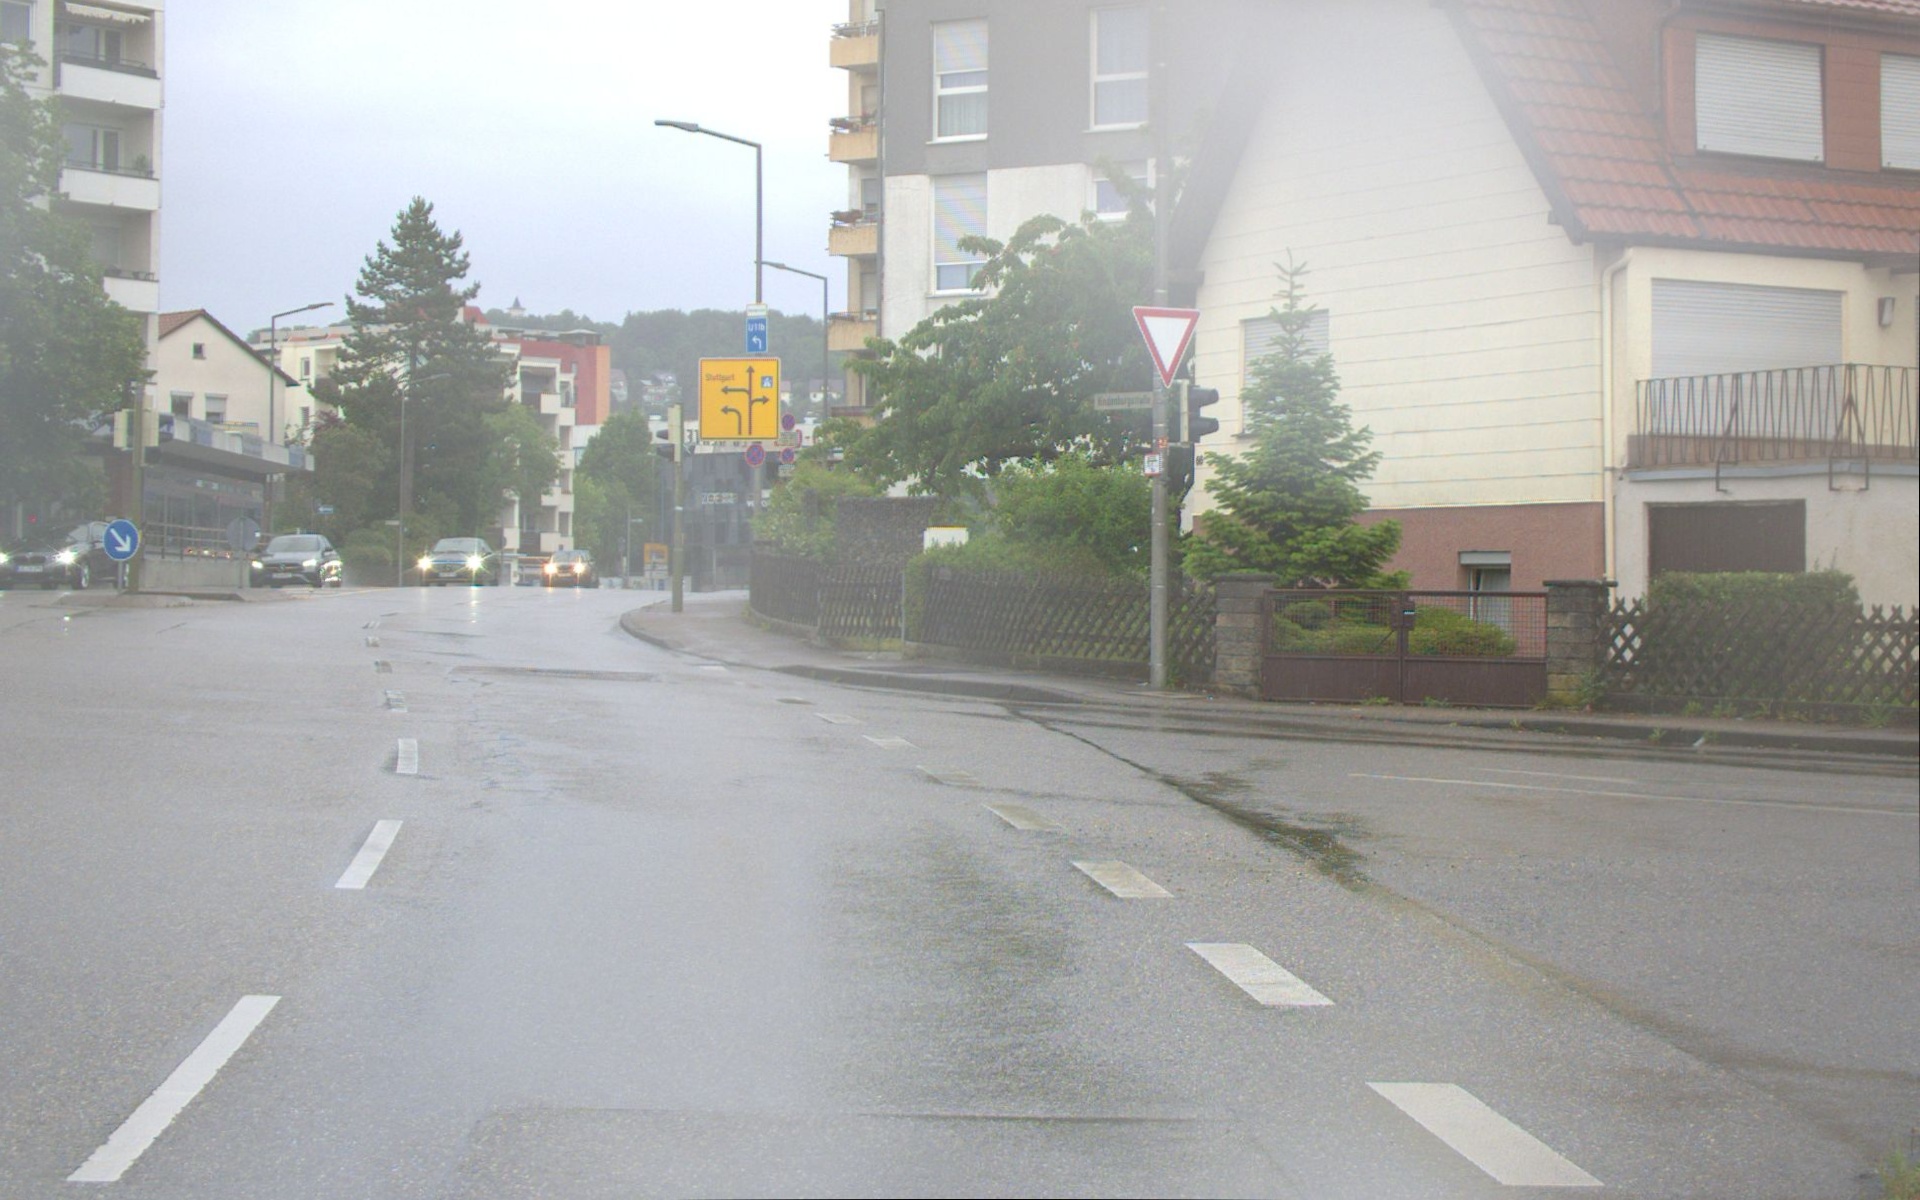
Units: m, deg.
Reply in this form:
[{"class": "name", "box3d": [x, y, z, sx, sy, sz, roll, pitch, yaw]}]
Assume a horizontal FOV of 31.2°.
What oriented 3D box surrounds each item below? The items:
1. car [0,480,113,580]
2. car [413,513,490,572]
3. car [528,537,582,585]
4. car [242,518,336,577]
[{"class": "car", "box3d": [-18.226, -1.380, 68.568, 1.993, 1.897, 4.001, 1, 1, -5]}, {"class": "car", "box3d": [-14.879, -1.671, 100.745, 1.993, 1.673, 4.001, 1, 1, -5]}, {"class": "car", "box3d": [-15.896, -1.536, 135.116, 1.993, 1.805, 4.001, 1, 1, -5]}, {"class": "car", "box3d": [-17.496, -1.366, 89.828, 1.993, 1.458, 4.001, 1, 1, -5]}]
